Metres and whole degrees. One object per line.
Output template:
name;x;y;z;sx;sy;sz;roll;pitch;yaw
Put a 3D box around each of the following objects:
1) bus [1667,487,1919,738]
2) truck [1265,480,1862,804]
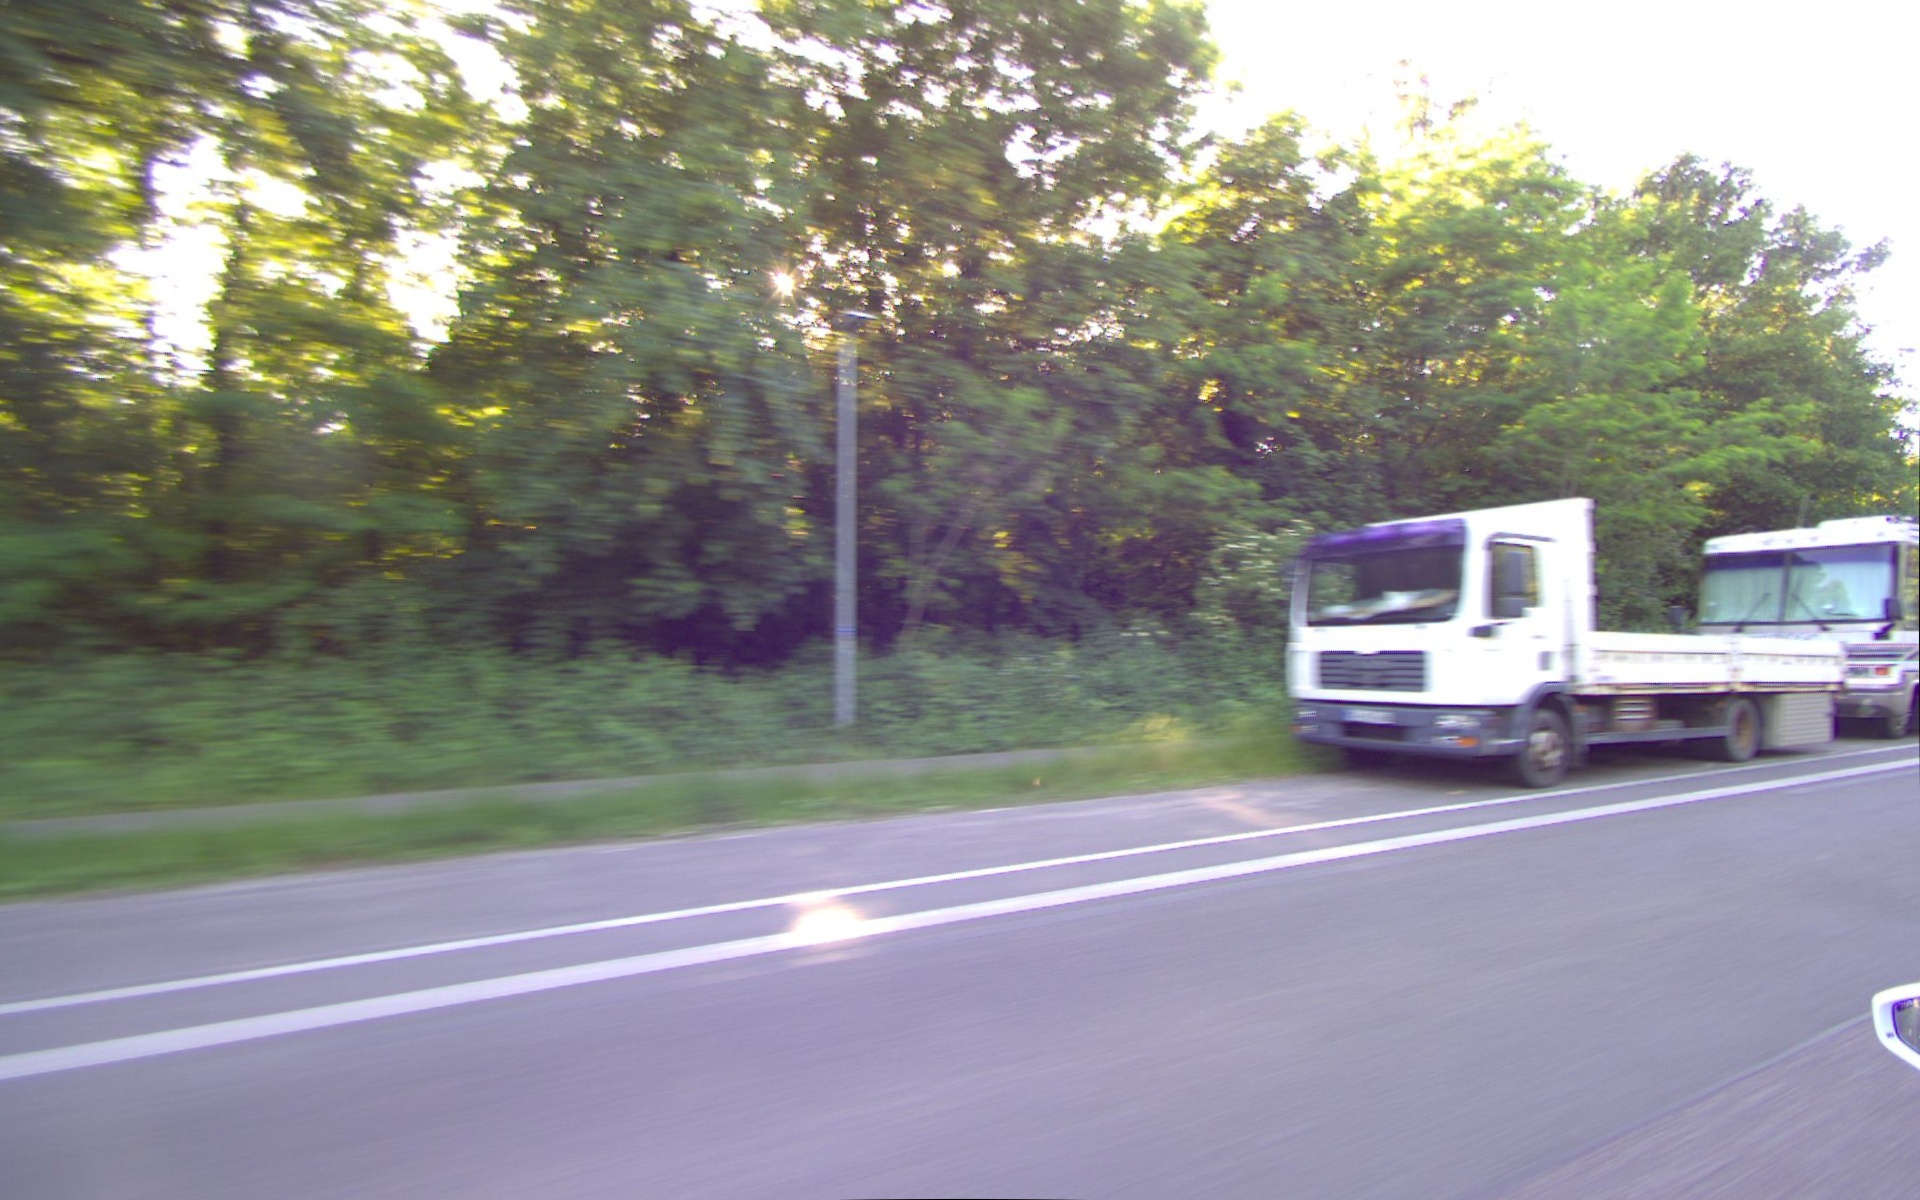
bus;17.028;0.315;17.965;11.070;3.476;2.814;2;0;-31
truck;7.564;0.443;12.075;8.325;2.861;2.470;1;0;-30
